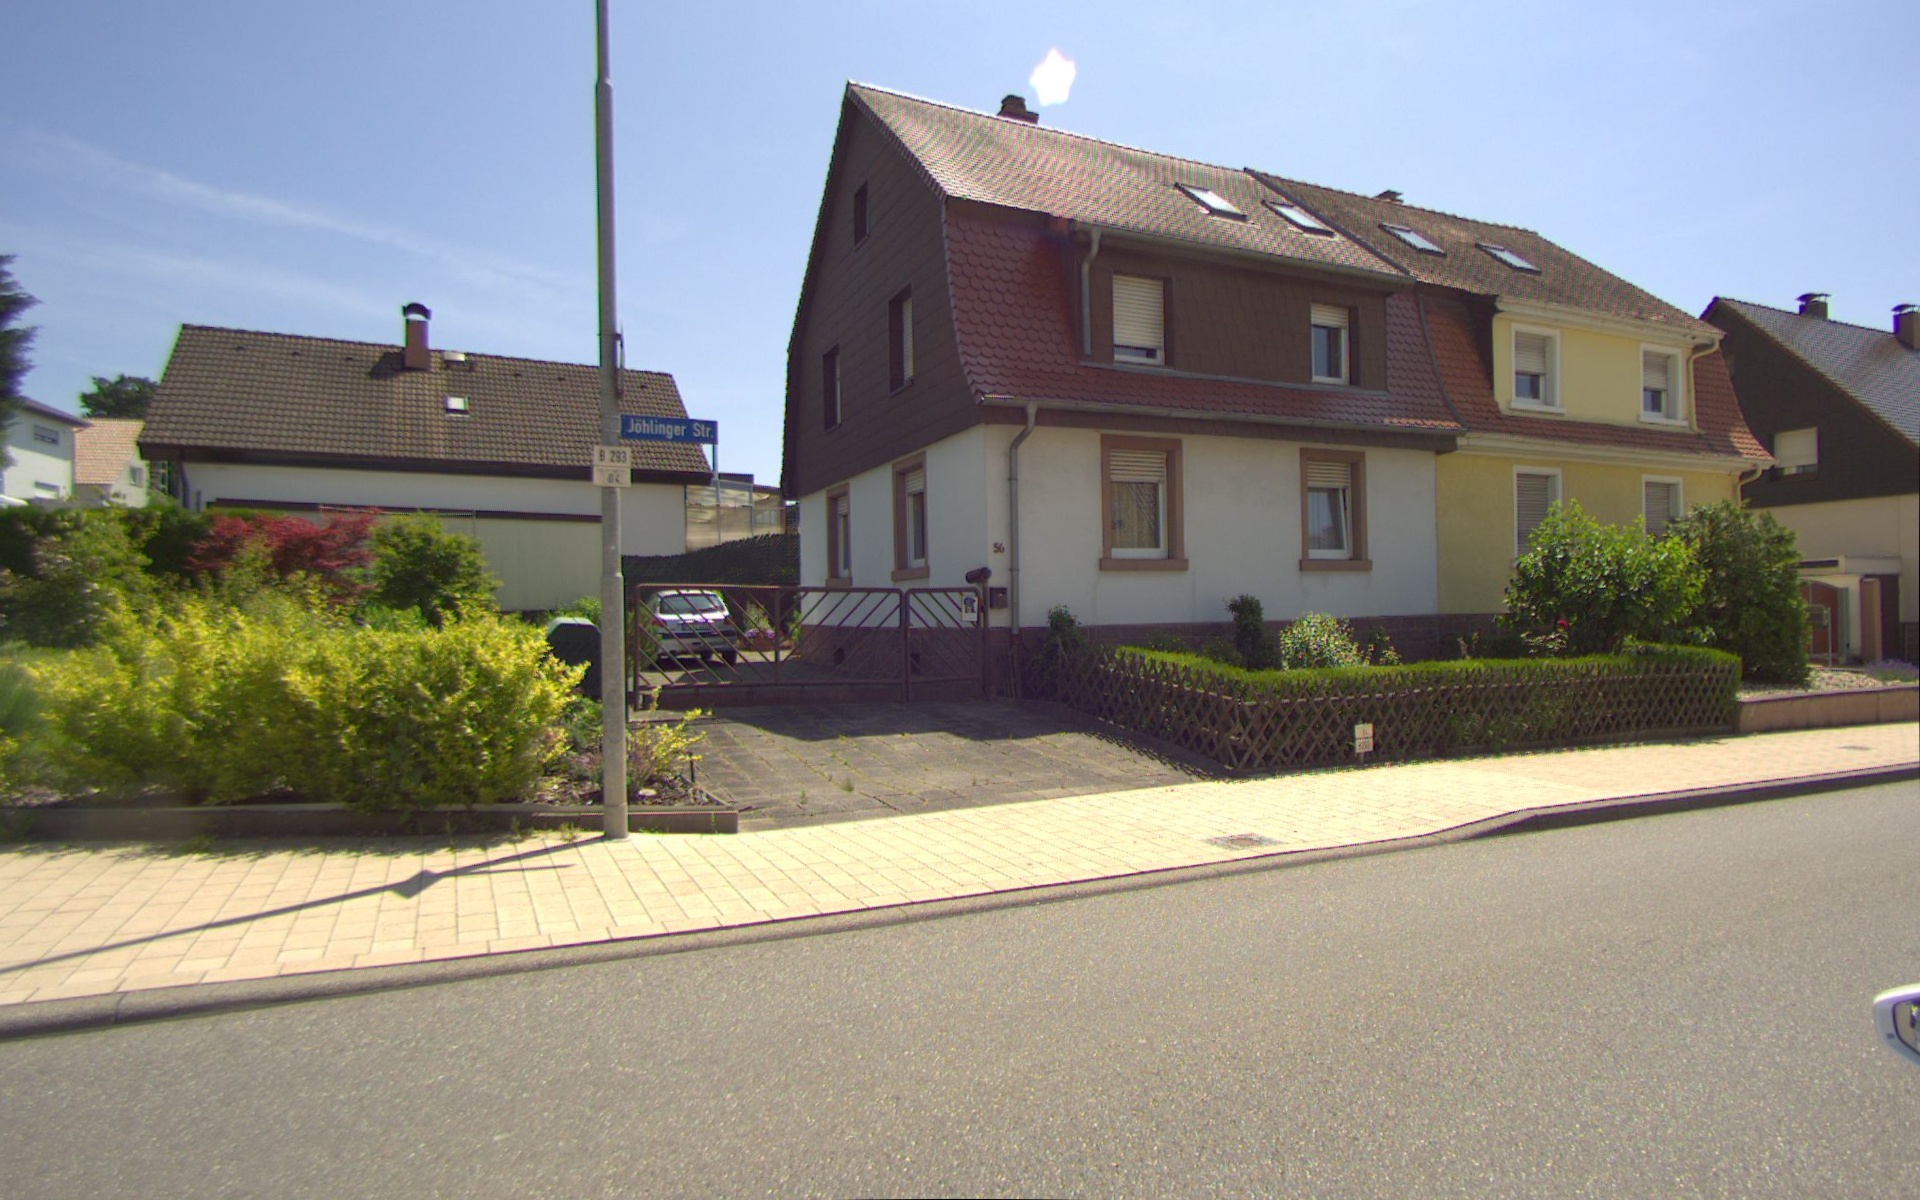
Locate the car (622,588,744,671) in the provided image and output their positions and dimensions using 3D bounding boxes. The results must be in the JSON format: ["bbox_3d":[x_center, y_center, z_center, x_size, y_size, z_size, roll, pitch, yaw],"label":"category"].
[{"bbox_3d":[-5.604,0.543,20.059,1.559,1.411,3.775,-3,1,-27],"label":"car"}]
